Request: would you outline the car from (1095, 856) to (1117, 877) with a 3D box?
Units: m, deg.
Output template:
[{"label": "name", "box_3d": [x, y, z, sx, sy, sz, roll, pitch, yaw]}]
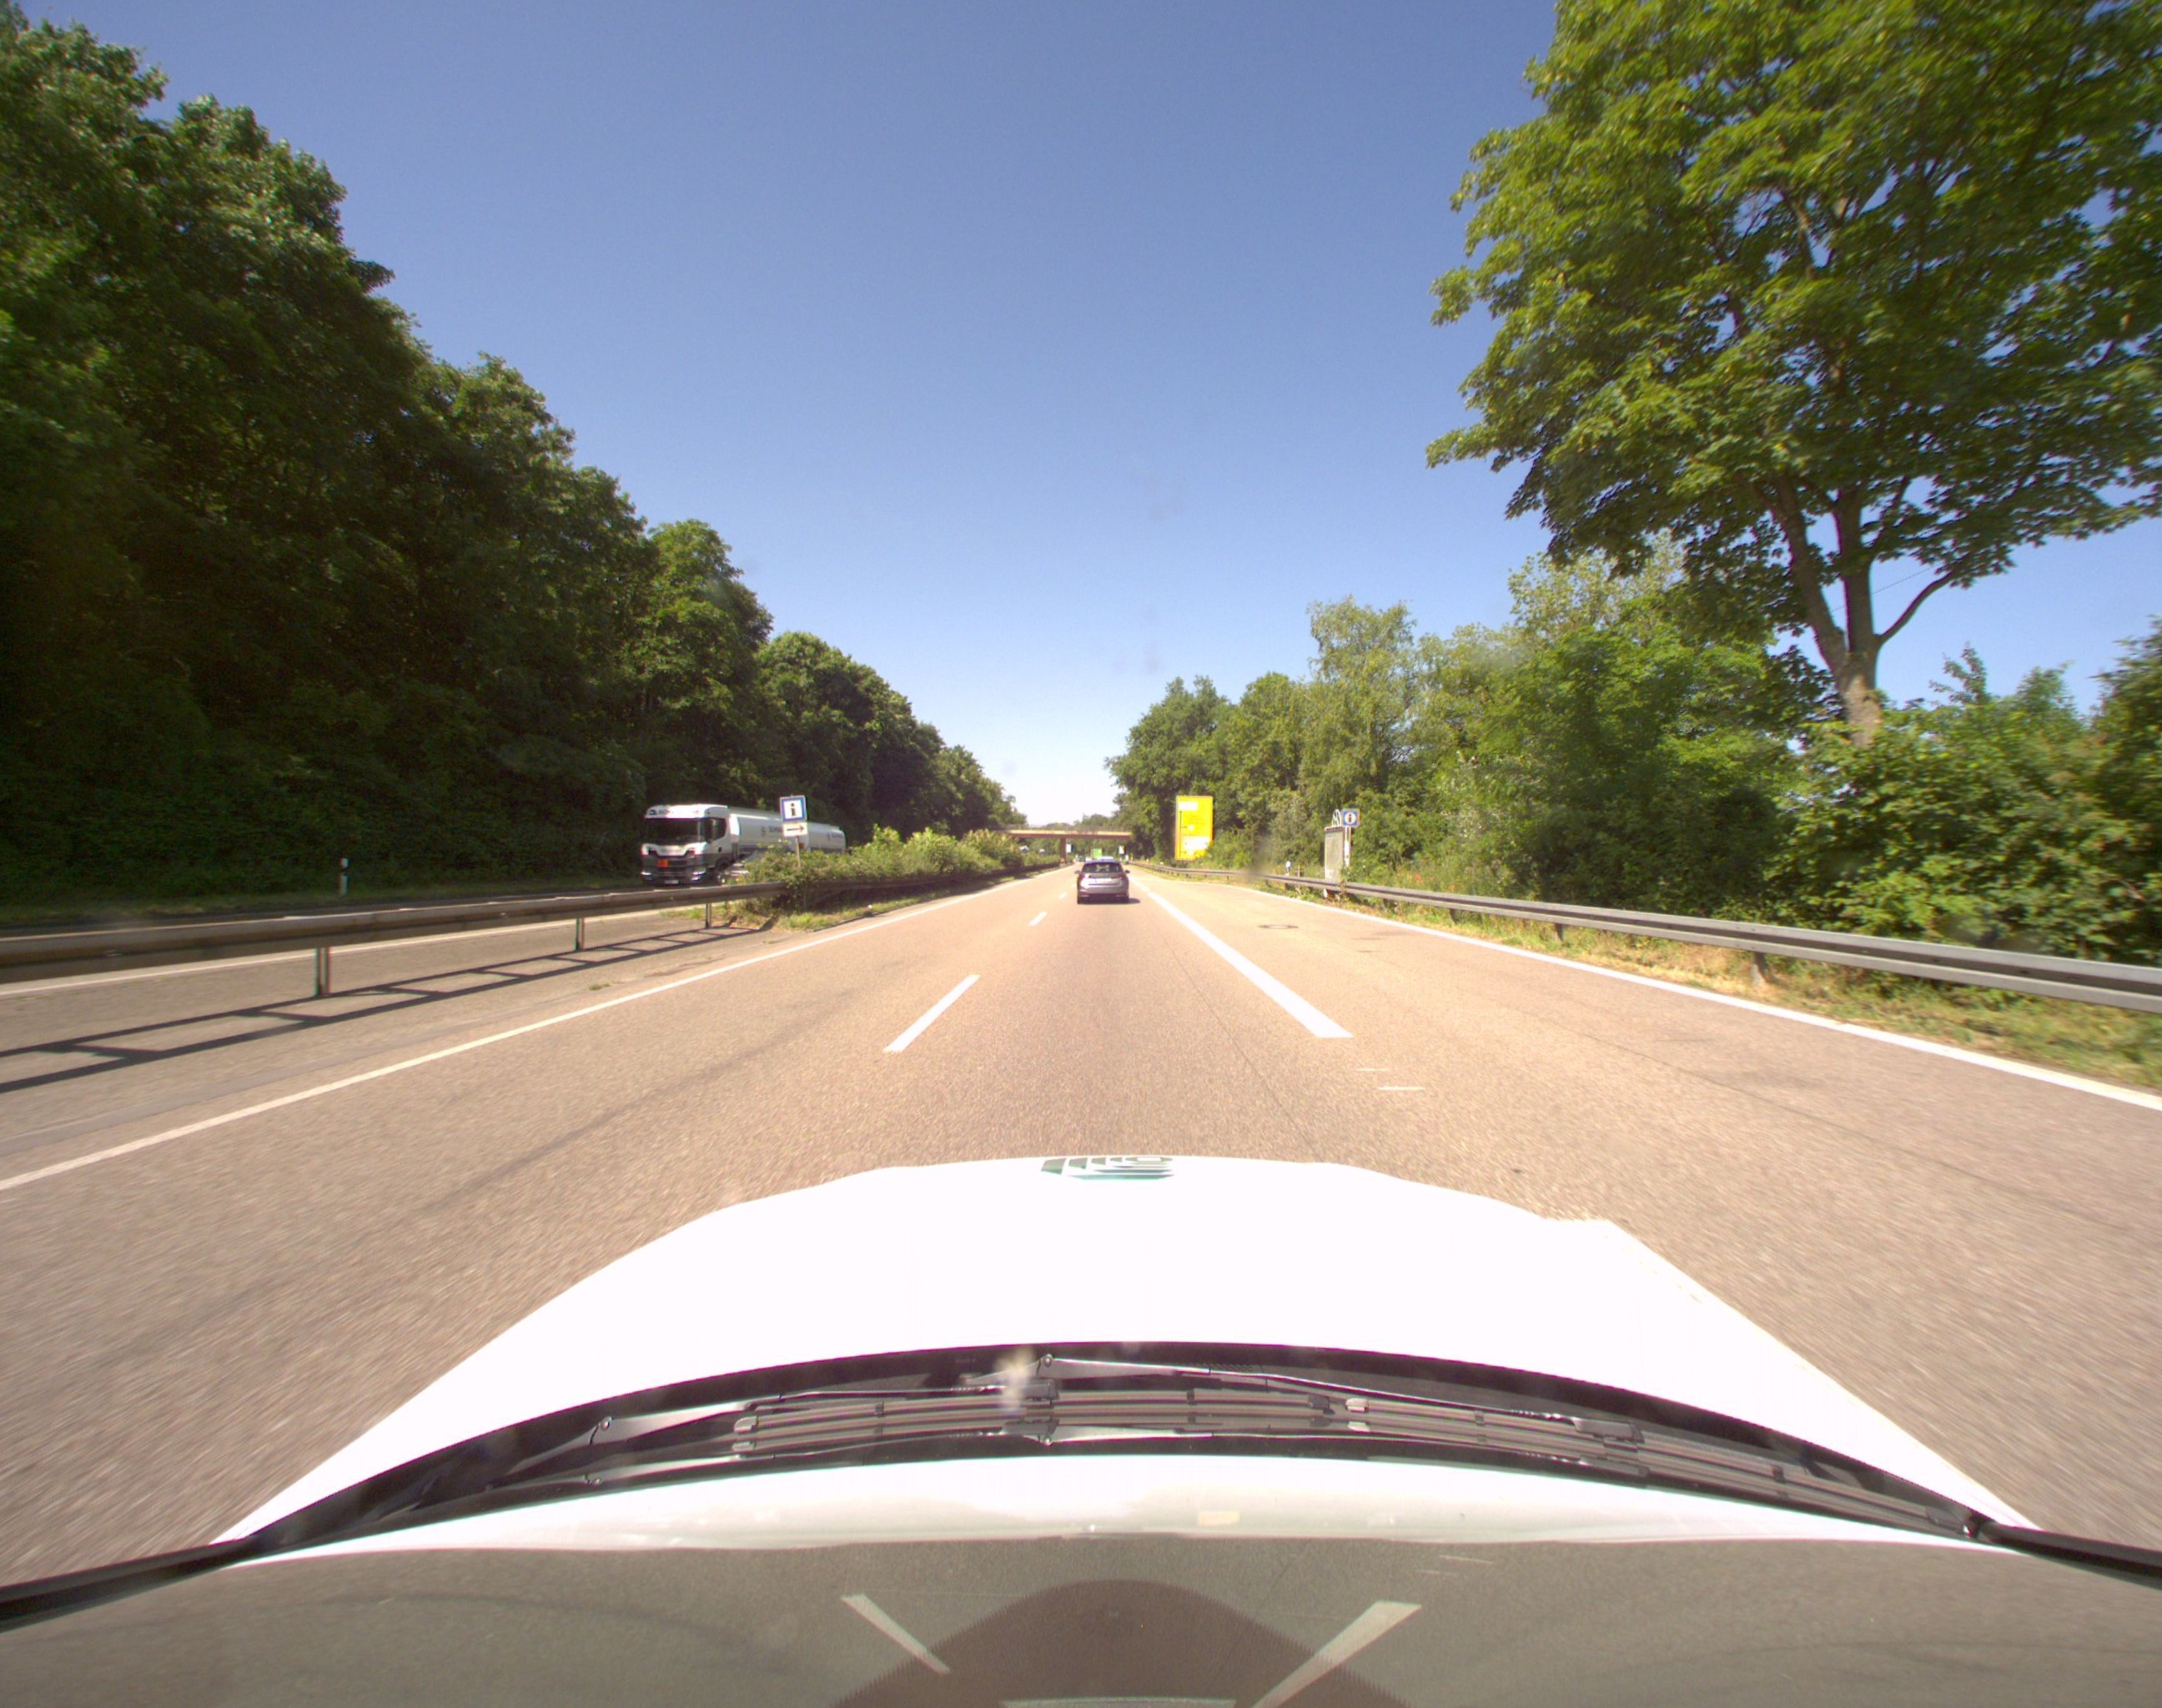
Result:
[{"label": "car", "box_3d": [1.867, 0.897, 60.283, 1.516, 1.446, 3.343, 0, 0, 3]}]

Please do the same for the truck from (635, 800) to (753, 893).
[{"label": "truck", "box_3d": [-14.503, -0.257, 30.802, 2.416, 3.258, 4.002, 0, 0, 2]}]

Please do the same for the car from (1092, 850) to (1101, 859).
[{"label": "car", "box_3d": [4.648, 0.106, 240.472, 2.738, 2.654, 4.001, 0, 0, 2]}]

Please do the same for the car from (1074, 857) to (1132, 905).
[{"label": "car", "box_3d": [0.803, 0.847, 27.403, 1.832, 1.472, 3.626, 0, 0, 3]}]

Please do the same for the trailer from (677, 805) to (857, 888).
[{"label": "trailer", "box_3d": [-14.187, -0.262, 38.821, 2.483, 3.235, 14.437, 0, 0, 2]}]

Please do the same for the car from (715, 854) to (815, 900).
[{"label": "car", "box_3d": [-10.864, 0.745, 28.354, 1.717, 1.480, 4.246, 0, 0, 1]}]

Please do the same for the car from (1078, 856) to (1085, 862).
[{"label": "car", "box_3d": [0.191, 1.459, 237.988, 1.986, 2.014, 4.001, 0, 0, 2]}]
